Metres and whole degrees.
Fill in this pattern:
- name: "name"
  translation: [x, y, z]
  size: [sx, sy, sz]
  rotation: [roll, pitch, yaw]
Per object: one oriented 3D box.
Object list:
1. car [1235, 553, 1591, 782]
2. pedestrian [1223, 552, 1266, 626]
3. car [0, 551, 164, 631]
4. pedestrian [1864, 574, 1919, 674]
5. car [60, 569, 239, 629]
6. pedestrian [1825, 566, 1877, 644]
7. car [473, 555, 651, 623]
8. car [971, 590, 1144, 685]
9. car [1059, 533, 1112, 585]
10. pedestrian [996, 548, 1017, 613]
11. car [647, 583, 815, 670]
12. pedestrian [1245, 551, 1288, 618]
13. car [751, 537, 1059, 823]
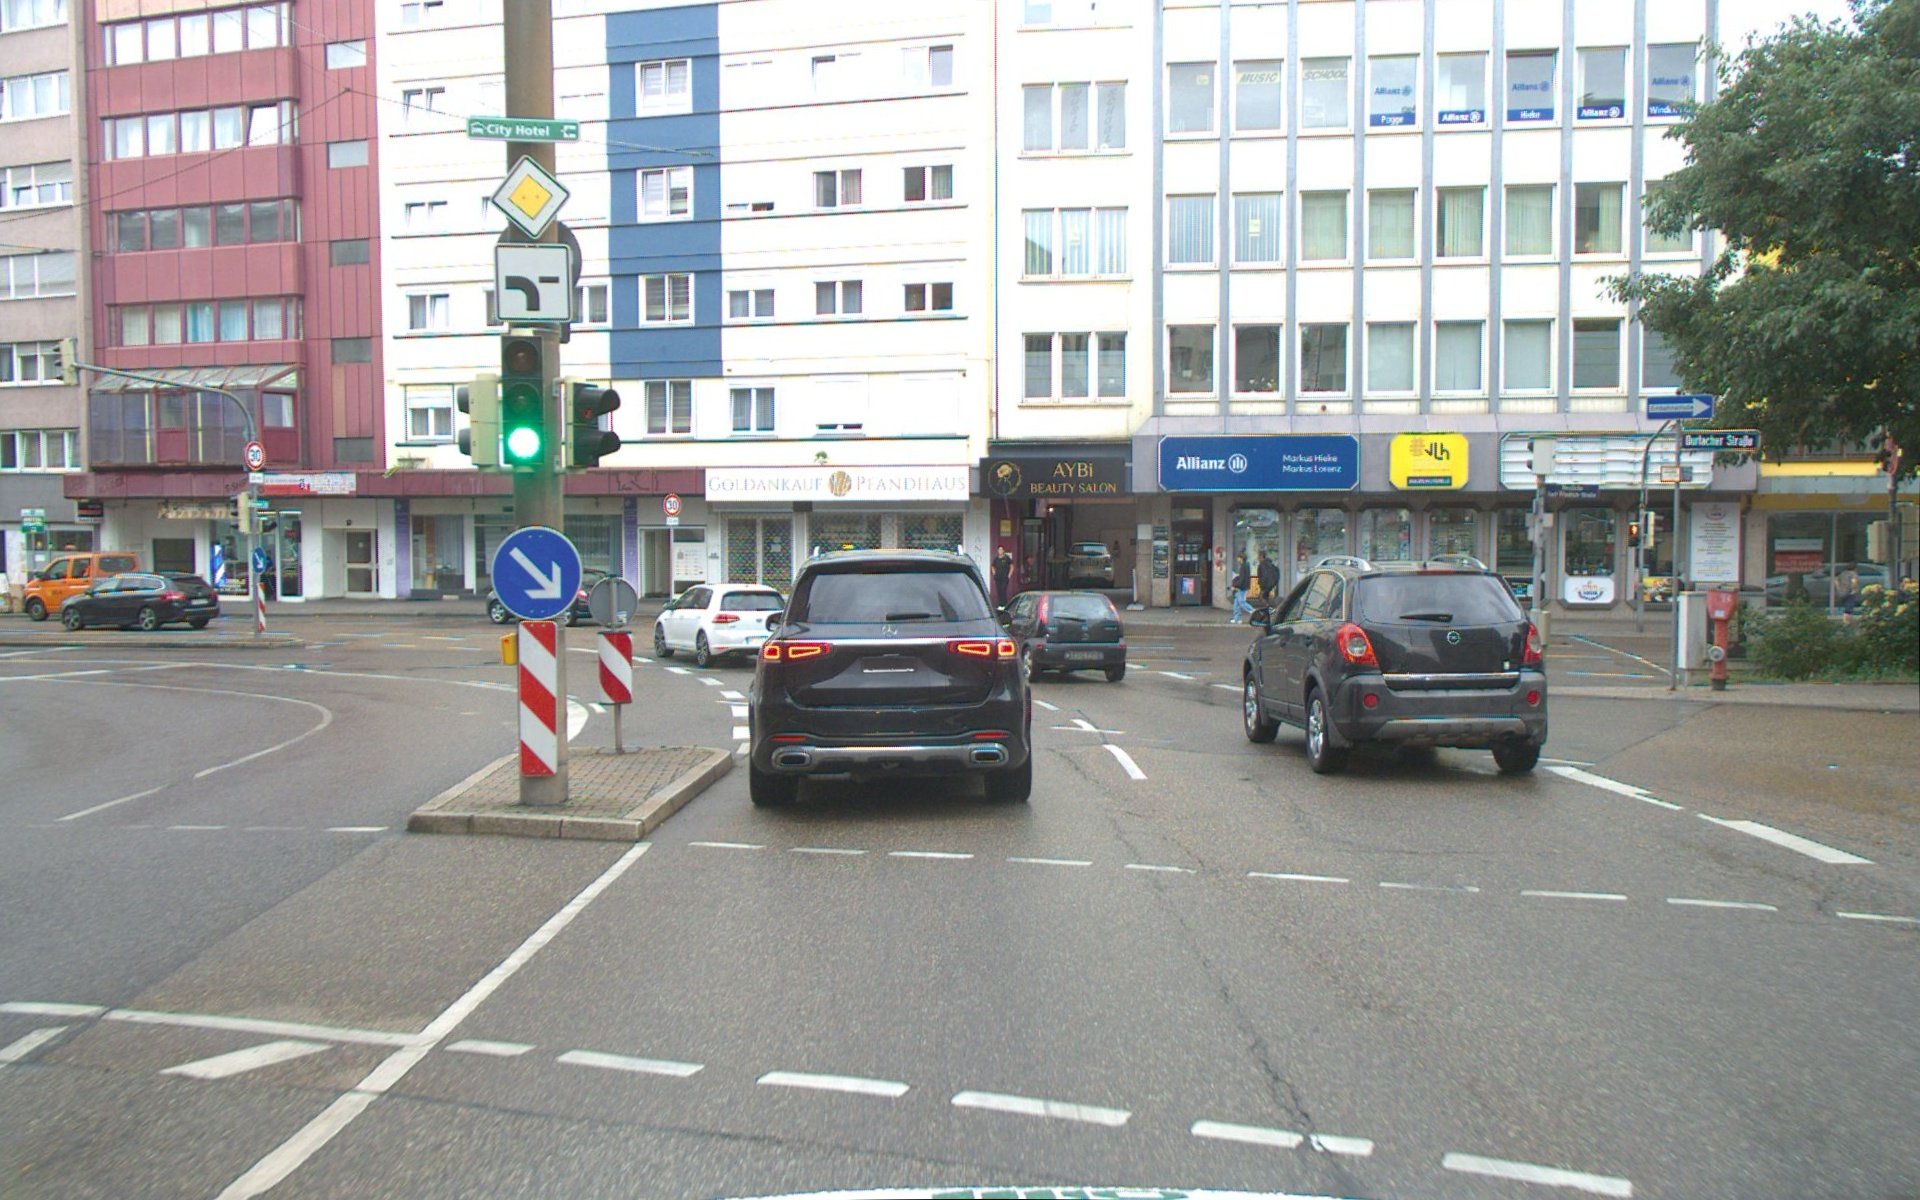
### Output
- name: "car"
  translation: [3.792, 0.491, 14.729]
  size: [1.859, 1.724, 4.504]
  rotation: [0, 0, -1]
- name: "pedestrian"
  translation: [7.309, -0.299, 42.537]
  size: [1.008, 1.829, 0.831]
  rotation: [0, 6, 4]
- name: "car"
  translation: [-27.106, -0.284, 50.038]
  size: [5.297, 2.267, 2.251]
  rotation: [1, 0, 17]
- name: "pedestrian"
  translation: [18.080, 0.461, 31.790]
  size: [0.807, 1.859, 0.890]
  rotation: [2, 1, -5]
- name: "car"
  translation: [-21.335, -0.011, 43.563]
  size: [4.136, 1.512, 2.000]
  rotation: [-1, 0, 22]
- name: "pedestrian"
  translation: [22.148, 0.121, 41.098]
  size: [0.876, 1.859, 0.675]
  rotation: [5, -2, -22]
- name: "car"
  translation: [-10.492, -0.297, 43.589]
  size: [4.393, 1.687, 1.827]
  rotation: [1, -1, 27]
- name: "car"
  translation: [1.525, 0.573, 27.409]
  size: [1.737, 1.422, 3.985]
  rotation: [-1, 0, -14]
- name: "car"
  translation: [4.311, -1.369, 57.055]
  size: [1.759, 1.699, 4.002]
  rotation: [-1, 0, 4]
- name: "pedestrian"
  translation: [1.282, -0.545, 45.446]
  size: [0.552, 1.717, 0.756]
  rotation: [0, 6, 1]
- name: "car"
  translation: [-4.402, 0.464, 31.263]
  size: [1.851, 1.521, 4.362]
  rotation: [1, 0, -27]
- name: "pedestrian"
  translation: [8.131, -0.415, 43.876]
  size: [1.008, 1.717, 0.831]
  rotation: [0, 6, 3]
- name: "car"
  translation: [-0.610, 0.491, 13.038]
  size: [2.000, 1.830, 4.656]
  rotation: [0, 0, -7]
